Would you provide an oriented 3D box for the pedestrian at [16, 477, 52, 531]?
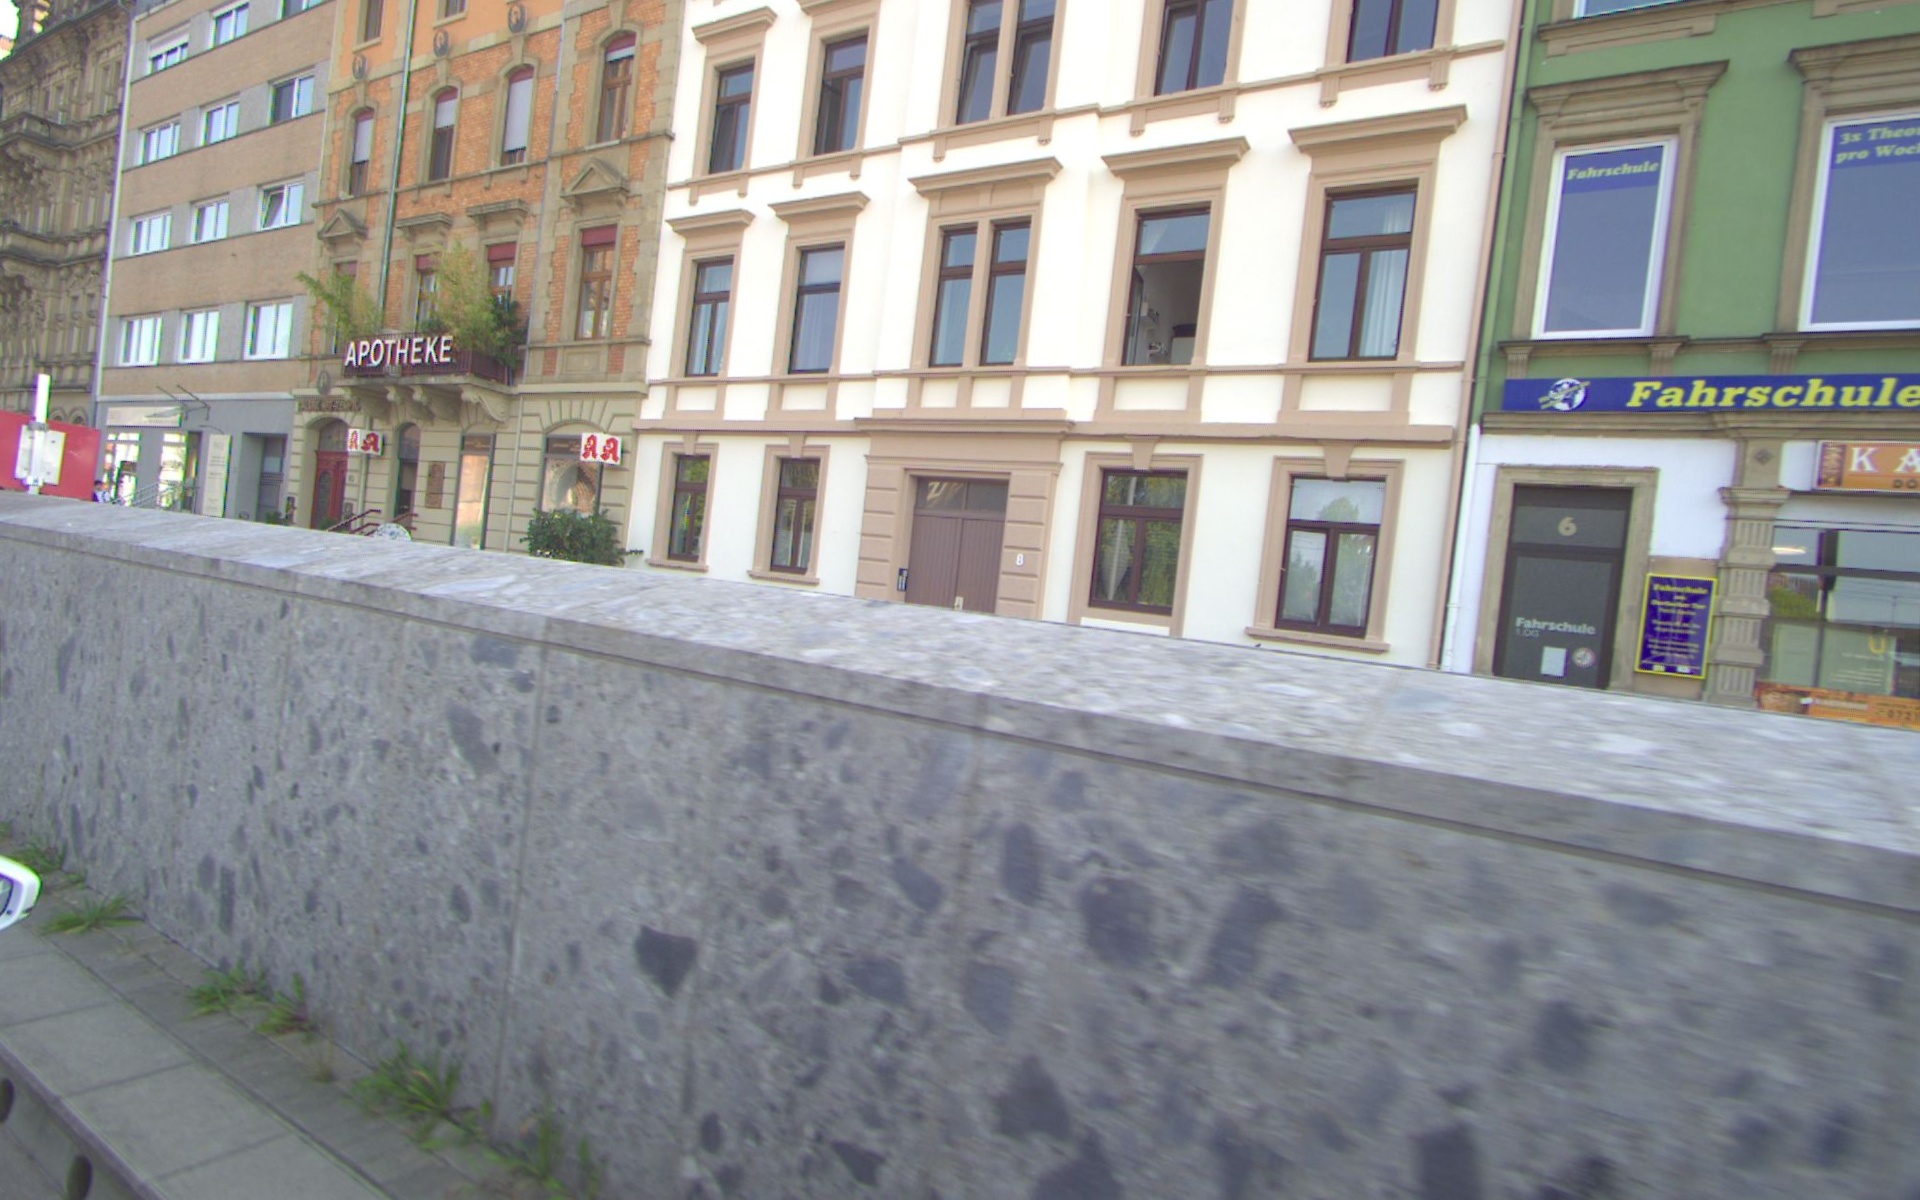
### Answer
[{"bbox_3d":[-30.917,-3.199,33.589,0.577,1.713,0.604,7,1,29],"label":"pedestrian"}]

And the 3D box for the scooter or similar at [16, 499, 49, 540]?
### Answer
[{"bbox_3d":[-29.466,-2.557,31.955,1.132,1.178,0.360,7,1,29],"label":"scooter or similar"}]

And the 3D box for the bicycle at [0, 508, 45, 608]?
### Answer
[{"bbox_3d":[-11.724,-0.549,11.606,0.378,1.163,1.636,7,0,27],"label":"bicycle"}]

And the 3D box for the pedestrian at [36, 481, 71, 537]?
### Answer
[{"bbox_3d":[-29.932,-3.010,33.220,0.502,1.753,0.604,7,1,28],"label":"pedestrian"}]

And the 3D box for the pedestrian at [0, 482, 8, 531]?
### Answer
[{"bbox_3d":[-33.423,-3.274,34.698,0.577,1.675,0.604,7,1,29],"label":"pedestrian"}]

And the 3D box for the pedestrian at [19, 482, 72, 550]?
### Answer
[{"bbox_3d":[-23.747,-2.181,26.129,0.842,1.630,0.720,7,1,33],"label":"pedestrian"}]

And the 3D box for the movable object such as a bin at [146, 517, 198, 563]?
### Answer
[{"bbox_3d":[-20.641,-1.562,26.358,0.657,1.094,0.739,7,1,15],"label":"movable object such as a bin"}]

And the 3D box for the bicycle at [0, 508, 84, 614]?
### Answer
[{"bbox_3d":[-11.094,-0.473,11.426,0.378,1.163,1.636,7,0,27],"label":"bicycle"}]

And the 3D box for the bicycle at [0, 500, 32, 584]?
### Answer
[{"bbox_3d":[-14.191,-0.899,14.063,0.592,1.163,1.633,7,0,34],"label":"bicycle"}]

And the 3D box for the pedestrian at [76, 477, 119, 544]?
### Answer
[{"bbox_3d":[-25.276,-2.622,29.488,0.729,1.855,0.604,7,1,29],"label":"pedestrian"}]

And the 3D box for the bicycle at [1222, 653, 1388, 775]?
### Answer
[{"bbox_3d":[4.029,1.306,11.807,1.691,1.148,0.383,7,1,33],"label":"bicycle"}]

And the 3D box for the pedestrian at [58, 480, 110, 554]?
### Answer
[{"bbox_3d":[-23.286,-2.205,26.755,0.842,1.810,0.720,7,1,33],"label":"pedestrian"}]

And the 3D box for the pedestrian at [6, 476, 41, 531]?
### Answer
[{"bbox_3d":[-31.555,-3.247,33.883,0.577,1.713,0.604,7,1,29],"label":"pedestrian"}]

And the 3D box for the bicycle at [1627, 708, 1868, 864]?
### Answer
[{"bbox_3d":[7.522,1.747,9.707,1.691,1.148,0.383,7,1,33],"label":"bicycle"}]

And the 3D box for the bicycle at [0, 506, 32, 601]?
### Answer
[{"bbox_3d":[-12.302,-0.632,12.060,0.378,1.163,1.636,7,0,27],"label":"bicycle"}]

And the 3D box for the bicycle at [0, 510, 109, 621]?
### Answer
[{"bbox_3d":[-10.555,-0.399,11.136,0.378,1.163,1.636,7,0,27],"label":"bicycle"}]

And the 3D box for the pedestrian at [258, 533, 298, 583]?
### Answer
[{"bbox_3d":[-14.815,-0.914,21.837,0.608,0.994,0.629,6,1,-38],"label":"pedestrian"}]
